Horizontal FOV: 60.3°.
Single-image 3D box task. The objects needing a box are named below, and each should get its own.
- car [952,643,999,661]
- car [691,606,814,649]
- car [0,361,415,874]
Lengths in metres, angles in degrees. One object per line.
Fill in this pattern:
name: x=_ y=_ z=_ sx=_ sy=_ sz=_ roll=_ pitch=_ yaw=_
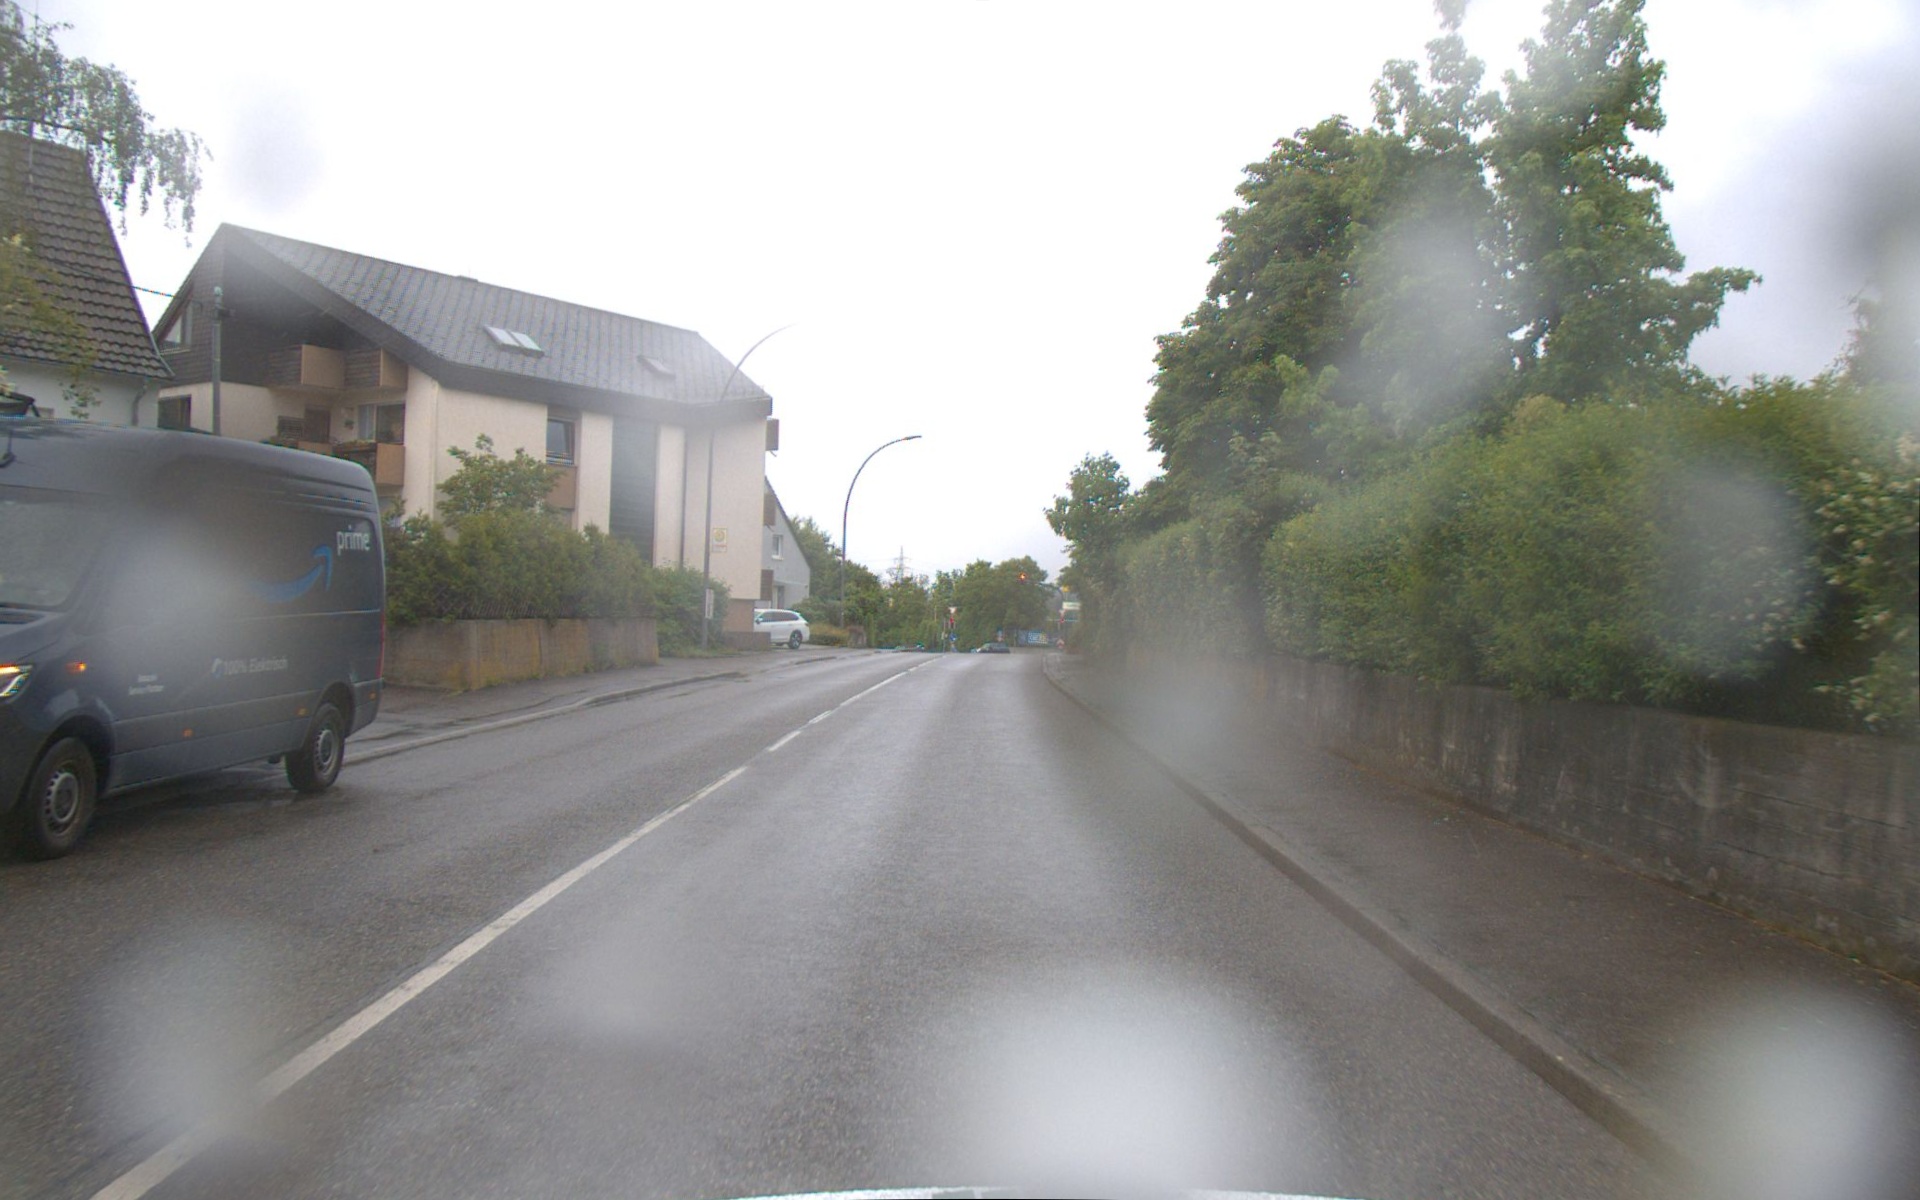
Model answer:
car: x=1.434 y=4.866 z=153.724 sx=3.923 sy=1.550 sz=1.803 roll=2 pitch=-1 yaw=-17
car: x=-7.923 y=1.062 z=63.673 sx=1.869 sy=1.503 sz=4.863 roll=2 pitch=0 yaw=35
car: x=-5.959 y=0.068 z=11.566 sx=2.051 sy=2.695 sz=5.919 roll=3 pitch=0 yaw=2
